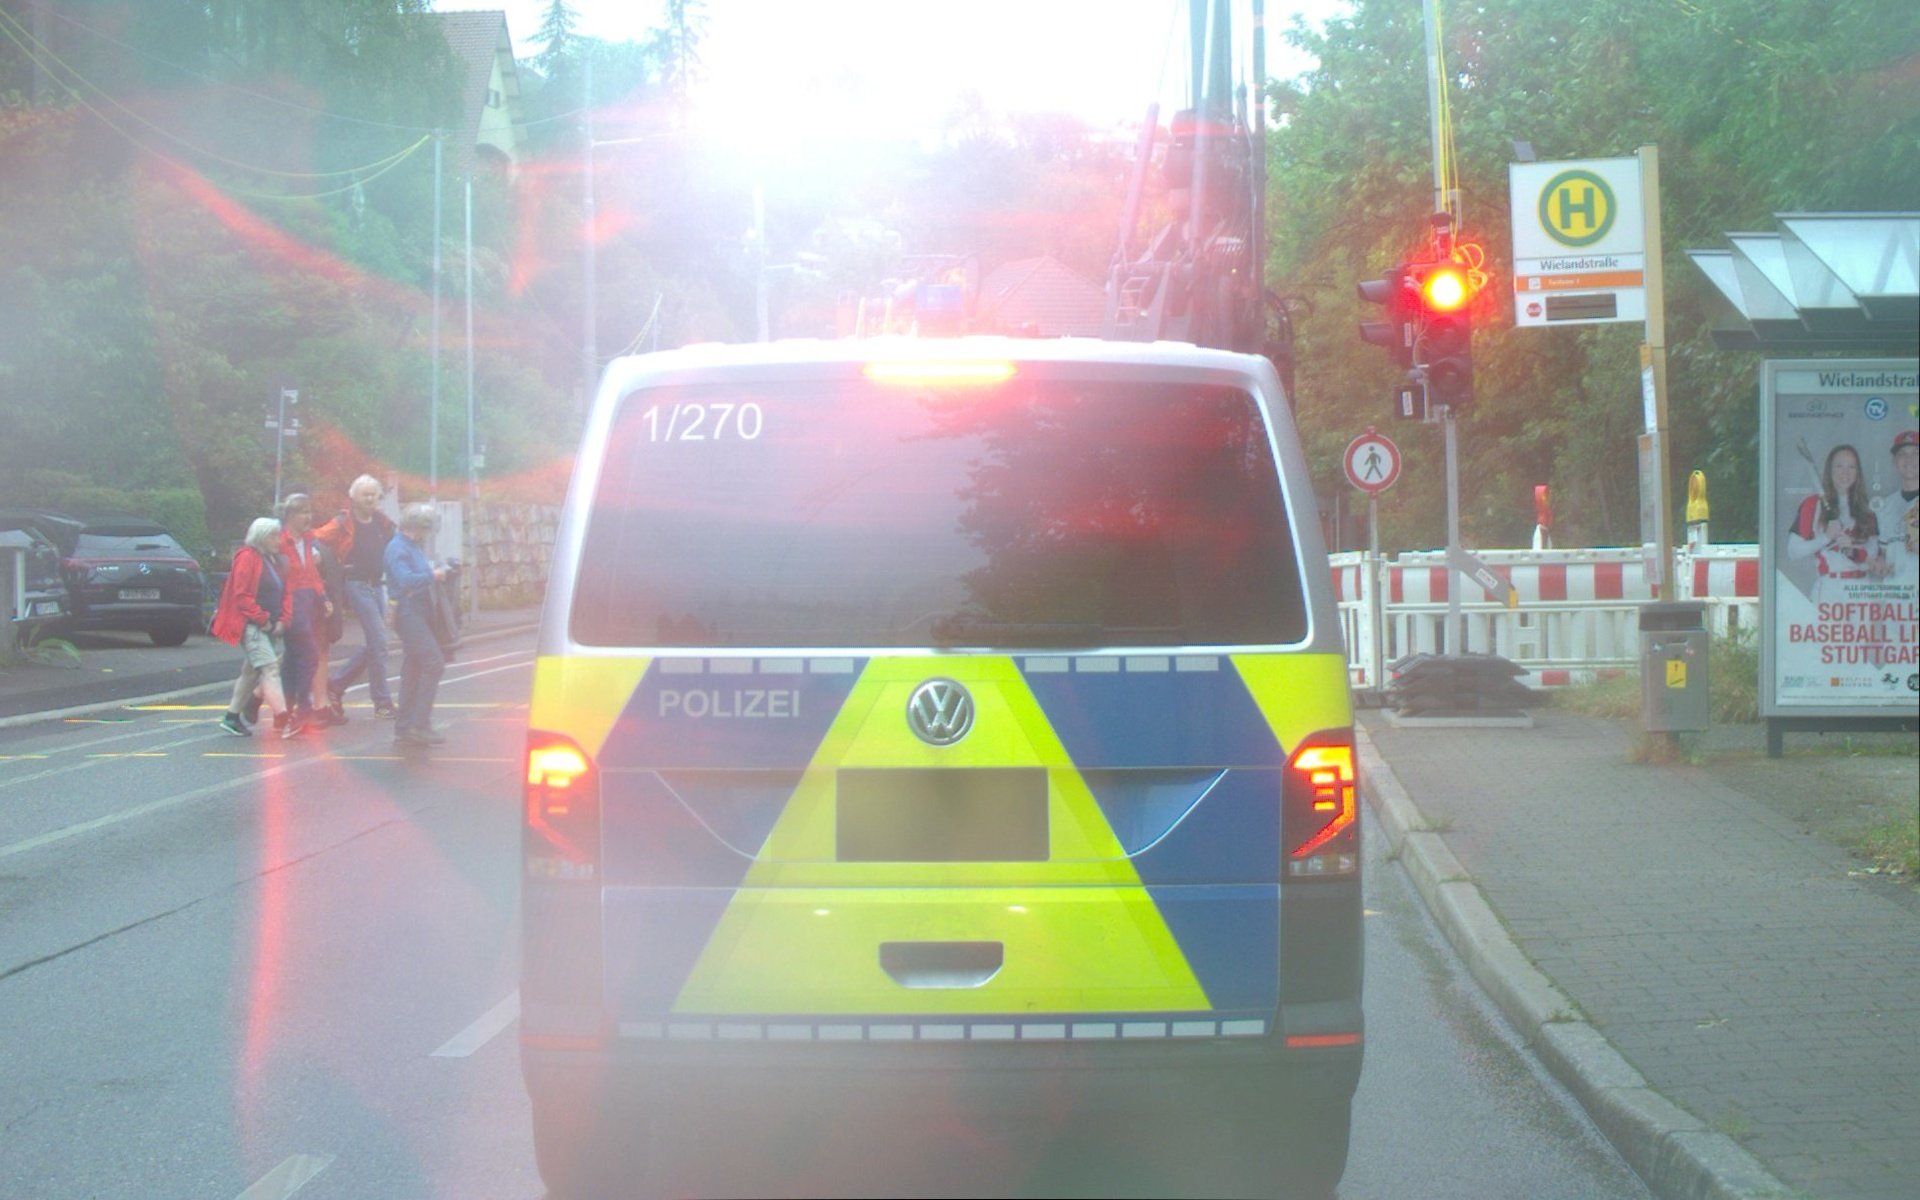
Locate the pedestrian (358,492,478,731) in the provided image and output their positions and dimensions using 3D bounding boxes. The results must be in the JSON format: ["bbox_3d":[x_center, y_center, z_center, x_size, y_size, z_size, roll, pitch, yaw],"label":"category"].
[{"bbox_3d":[-3.521,0.075,22.375,0.626,1.517,0.593,2,-1,2],"label":"pedestrian"}]

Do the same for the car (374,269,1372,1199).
[{"bbox_3d":[-0.018,0.284,9.062,1.994,2.006,4.401,1,2,4],"label":"car"}]

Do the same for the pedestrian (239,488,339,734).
[{"bbox_3d":[-4.601,0.078,23.586,0.549,1.662,0.414,2,-1,2],"label":"pedestrian"}]

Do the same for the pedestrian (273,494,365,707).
[{"bbox_3d":[-4.595,0.006,24.662,0.525,1.502,0.429,2,-1,2],"label":"pedestrian"}]

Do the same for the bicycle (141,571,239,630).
[{"bbox_3d":[-8.970,0.004,40.034,1.054,0.660,0.320,1,-1,10],"label":"bicycle"}]

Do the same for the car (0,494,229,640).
[{"bbox_3d":[-10.144,-0.366,37.124,3.989,1.481,1.759,2,-1,11],"label":"car"}]

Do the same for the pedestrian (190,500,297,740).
[{"bbox_3d":[-4.805,0.137,23.079,0.563,1.577,0.468,2,-1,2],"label":"pedestrian"}]

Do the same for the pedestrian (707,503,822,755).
[{"bbox_3d":[-1.269,0.190,22.386,0.686,1.598,0.606,2,-1,-1],"label":"pedestrian"}]

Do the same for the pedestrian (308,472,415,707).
[{"bbox_3d":[-4.437,-0.076,25.519,0.626,1.709,0.593,2,-1,2],"label":"pedestrian"}]

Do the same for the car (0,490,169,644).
[{"bbox_3d":[-10.304,-0.355,34.975,3.989,1.481,1.759,2,-1,11],"label":"car"}]
